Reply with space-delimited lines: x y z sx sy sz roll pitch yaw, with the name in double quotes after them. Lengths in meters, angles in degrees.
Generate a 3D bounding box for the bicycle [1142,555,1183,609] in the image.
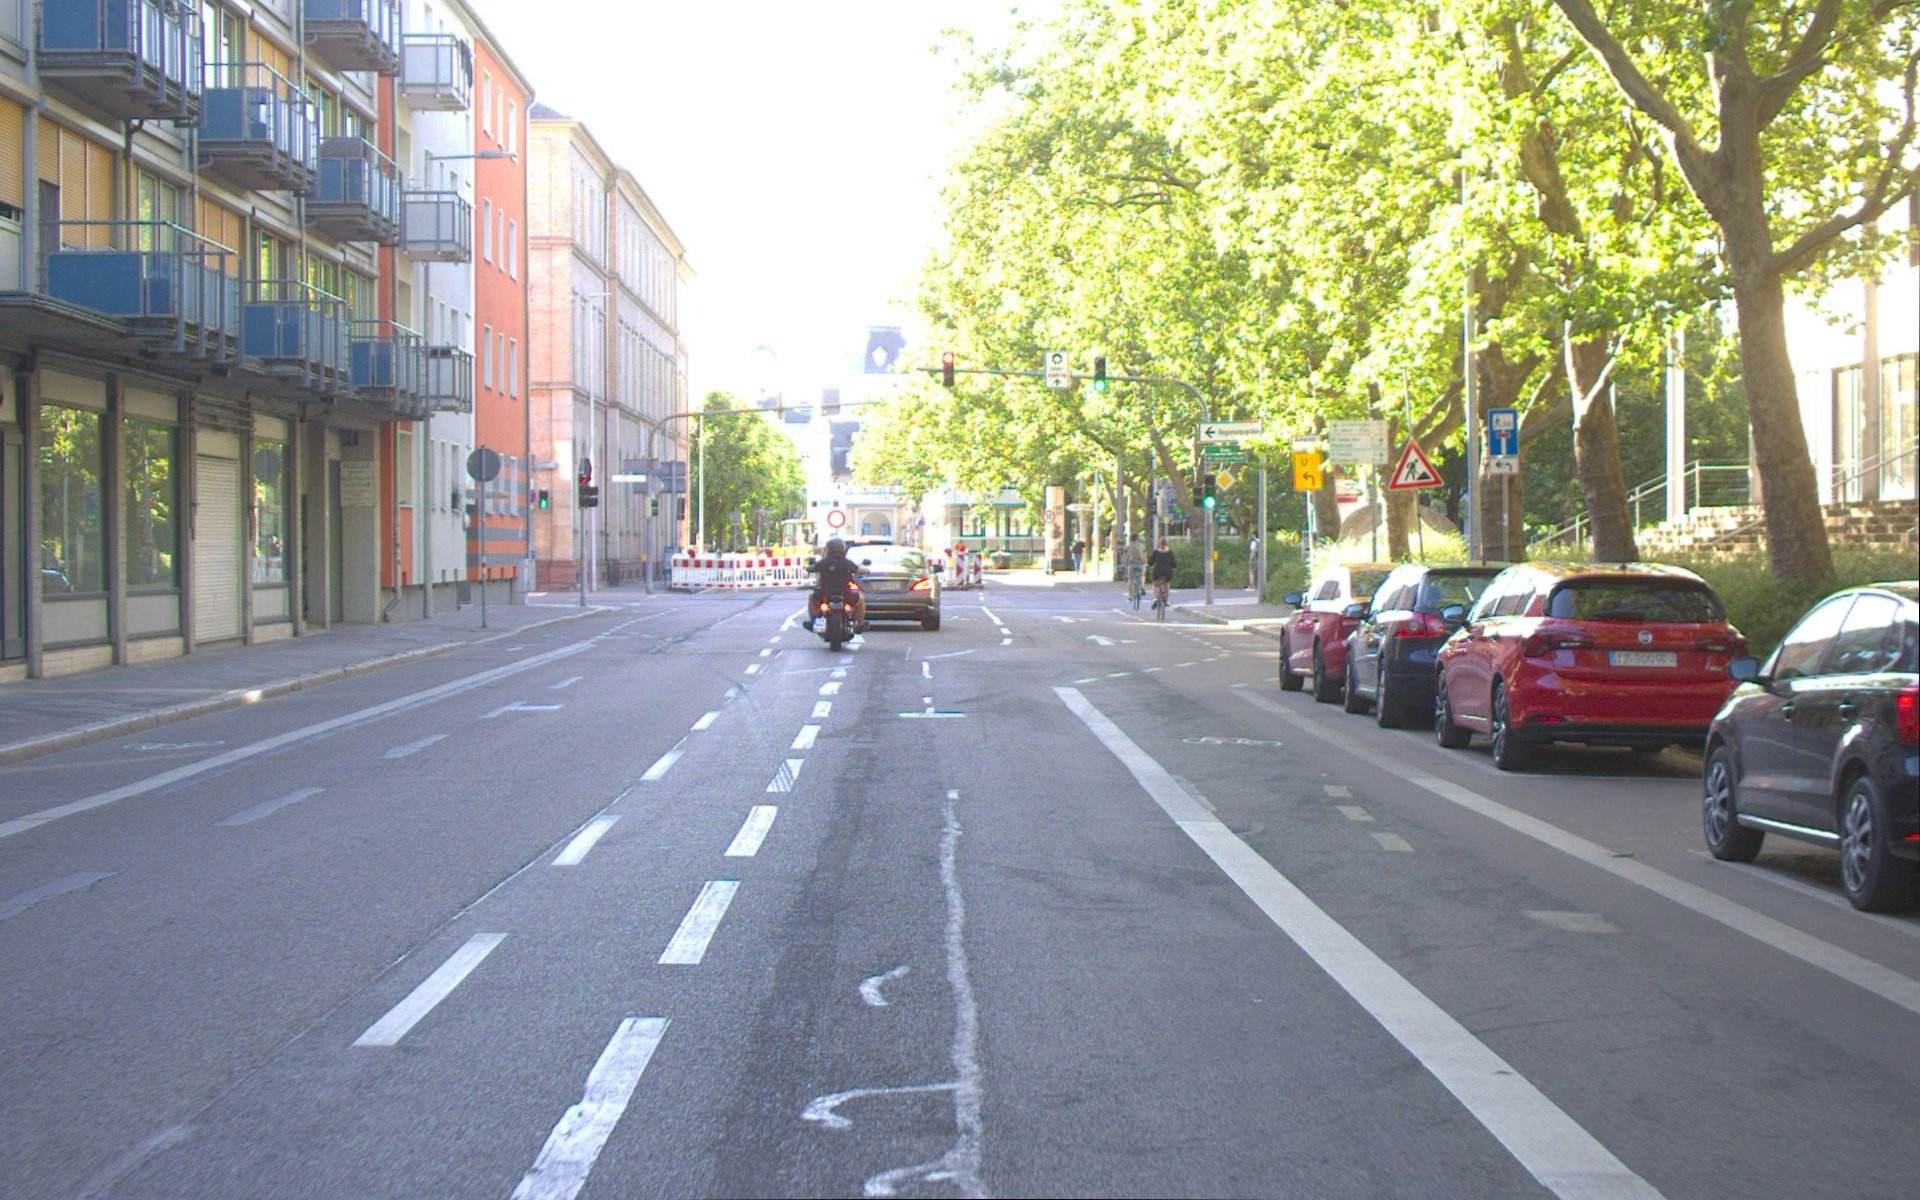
4.118 -0.373 70.000 0.656 1.066 1.927 1 1 -1 "bicycle"

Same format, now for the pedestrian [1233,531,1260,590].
8.715 -1.209 104.494 0.624 1.768 0.572 2 0 21 "pedestrian"

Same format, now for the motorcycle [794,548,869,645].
-1.778 -0.070 48.100 1.012 1.302 2.673 0 1 -2 "motorcycle"

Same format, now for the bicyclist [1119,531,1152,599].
4.011 -0.804 78.640 0.656 1.525 0.906 1 0 -1 "bicyclist"

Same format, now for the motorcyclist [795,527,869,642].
-1.784 -0.227 48.192 1.012 1.596 1.406 0 1 -1 "motorcyclist"

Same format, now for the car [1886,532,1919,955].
4.679 0.622 11.333 1.775 1.622 4.621 2 1 -2 "car"

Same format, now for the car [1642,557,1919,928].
4.599 0.593 16.269 1.692 1.498 4.021 2 1 -3 "car"

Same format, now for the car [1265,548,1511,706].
4.325 0.231 35.372 1.692 1.444 4.437 2 1 -3 "car"

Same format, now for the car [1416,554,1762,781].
4.598 0.435 25.728 1.693 1.474 4.319 2 1 -1 "car"

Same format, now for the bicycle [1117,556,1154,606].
4.006 -0.450 78.610 0.656 1.107 2.186 1 1 -1 "bicycle"

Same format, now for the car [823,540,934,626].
-1.408 -0.319 59.140 1.828 1.415 3.815 0 1 -2 "car"

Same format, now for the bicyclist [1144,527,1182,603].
4.124 -0.714 69.974 0.656 1.525 0.852 1 0 -1 "bicyclist"

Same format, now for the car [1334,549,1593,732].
4.458 0.313 30.964 1.693 1.461 4.066 2 1 0 "car"
